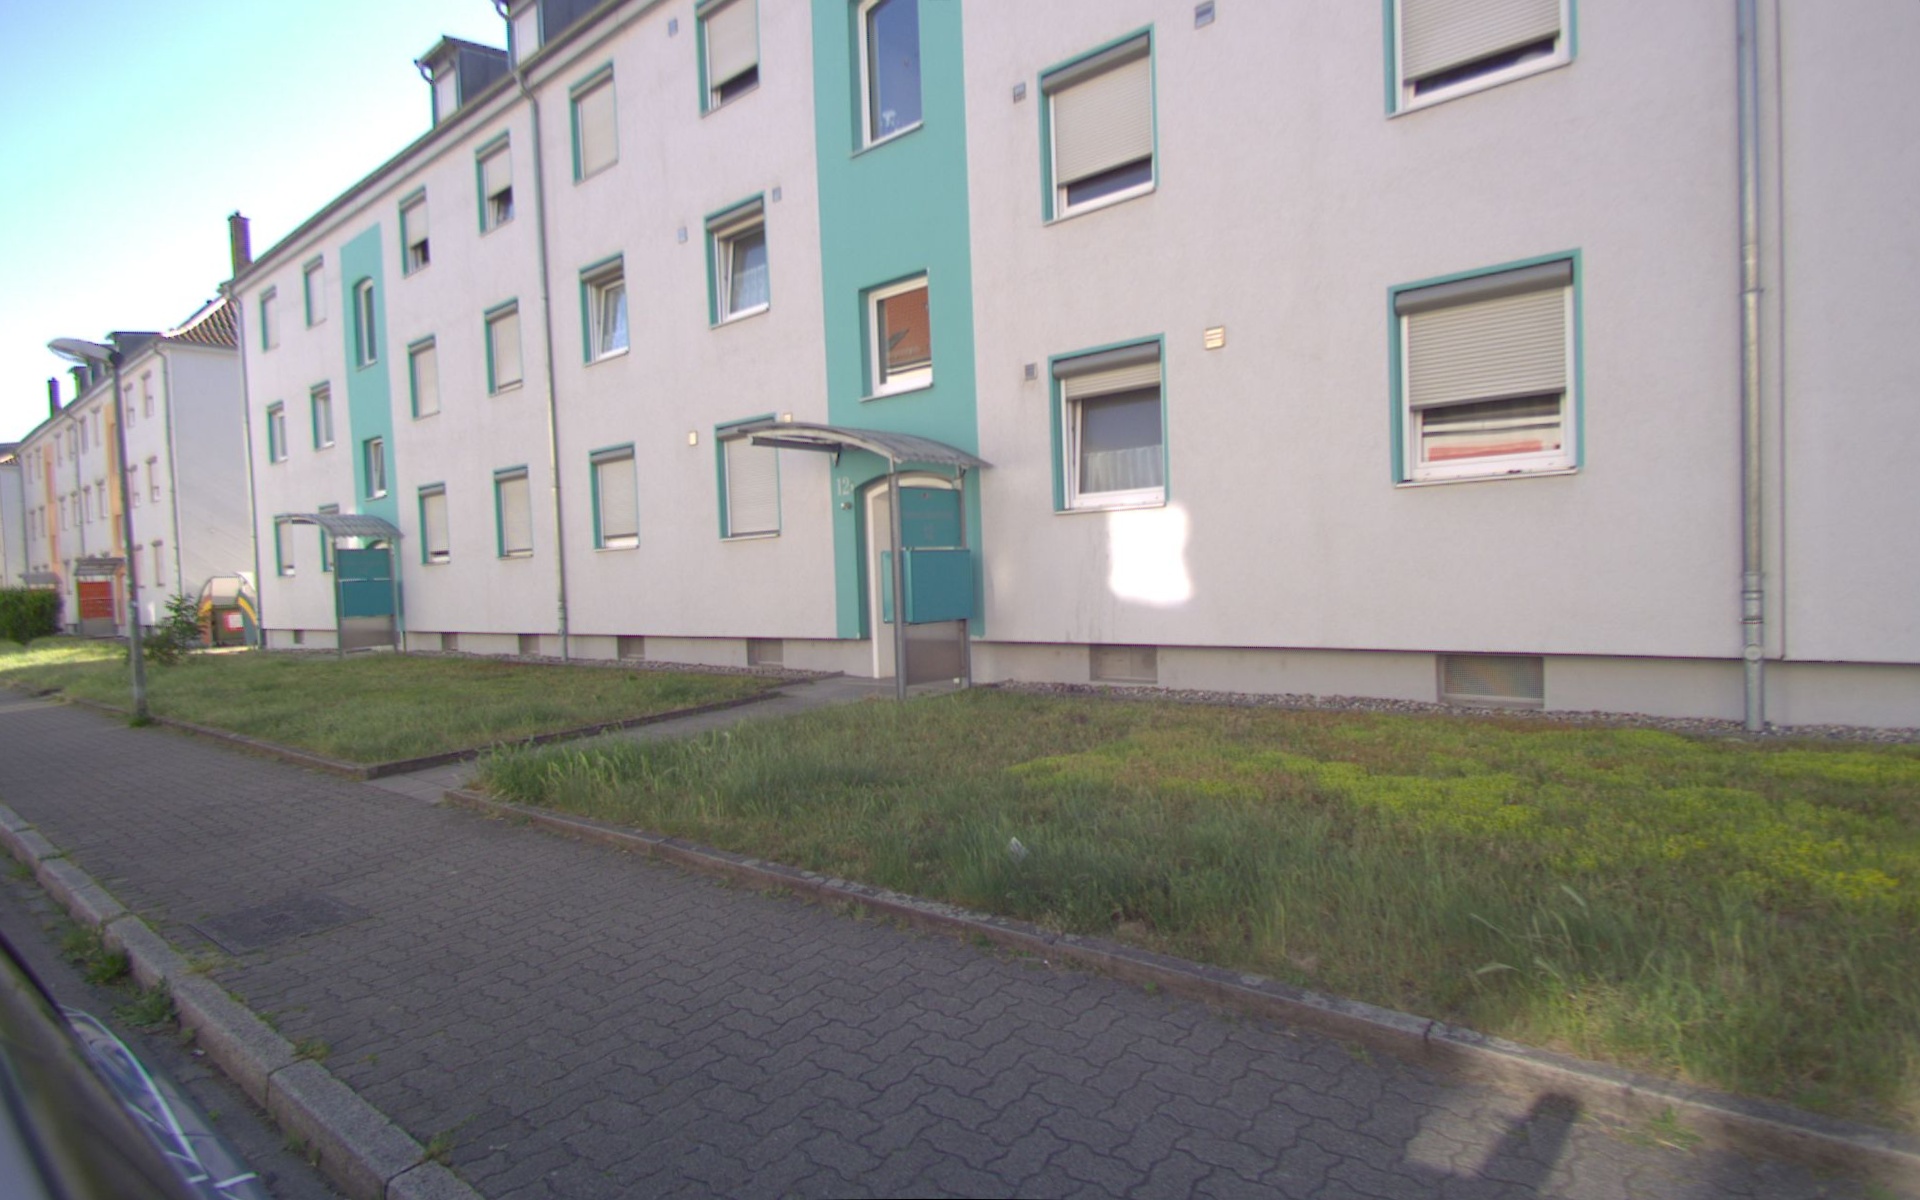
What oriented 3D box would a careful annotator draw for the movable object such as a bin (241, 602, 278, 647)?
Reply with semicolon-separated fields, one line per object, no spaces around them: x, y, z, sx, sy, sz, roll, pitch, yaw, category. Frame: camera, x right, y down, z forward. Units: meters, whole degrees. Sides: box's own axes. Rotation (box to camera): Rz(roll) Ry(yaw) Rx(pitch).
-22.677;0.776;32.767;0.762;1.403;0.744;-1;1;40;movable object such as a bin

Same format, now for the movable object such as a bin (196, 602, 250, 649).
-23.296;0.796;31.987;0.877;1.403;1.152;-1;1;40;movable object such as a bin
